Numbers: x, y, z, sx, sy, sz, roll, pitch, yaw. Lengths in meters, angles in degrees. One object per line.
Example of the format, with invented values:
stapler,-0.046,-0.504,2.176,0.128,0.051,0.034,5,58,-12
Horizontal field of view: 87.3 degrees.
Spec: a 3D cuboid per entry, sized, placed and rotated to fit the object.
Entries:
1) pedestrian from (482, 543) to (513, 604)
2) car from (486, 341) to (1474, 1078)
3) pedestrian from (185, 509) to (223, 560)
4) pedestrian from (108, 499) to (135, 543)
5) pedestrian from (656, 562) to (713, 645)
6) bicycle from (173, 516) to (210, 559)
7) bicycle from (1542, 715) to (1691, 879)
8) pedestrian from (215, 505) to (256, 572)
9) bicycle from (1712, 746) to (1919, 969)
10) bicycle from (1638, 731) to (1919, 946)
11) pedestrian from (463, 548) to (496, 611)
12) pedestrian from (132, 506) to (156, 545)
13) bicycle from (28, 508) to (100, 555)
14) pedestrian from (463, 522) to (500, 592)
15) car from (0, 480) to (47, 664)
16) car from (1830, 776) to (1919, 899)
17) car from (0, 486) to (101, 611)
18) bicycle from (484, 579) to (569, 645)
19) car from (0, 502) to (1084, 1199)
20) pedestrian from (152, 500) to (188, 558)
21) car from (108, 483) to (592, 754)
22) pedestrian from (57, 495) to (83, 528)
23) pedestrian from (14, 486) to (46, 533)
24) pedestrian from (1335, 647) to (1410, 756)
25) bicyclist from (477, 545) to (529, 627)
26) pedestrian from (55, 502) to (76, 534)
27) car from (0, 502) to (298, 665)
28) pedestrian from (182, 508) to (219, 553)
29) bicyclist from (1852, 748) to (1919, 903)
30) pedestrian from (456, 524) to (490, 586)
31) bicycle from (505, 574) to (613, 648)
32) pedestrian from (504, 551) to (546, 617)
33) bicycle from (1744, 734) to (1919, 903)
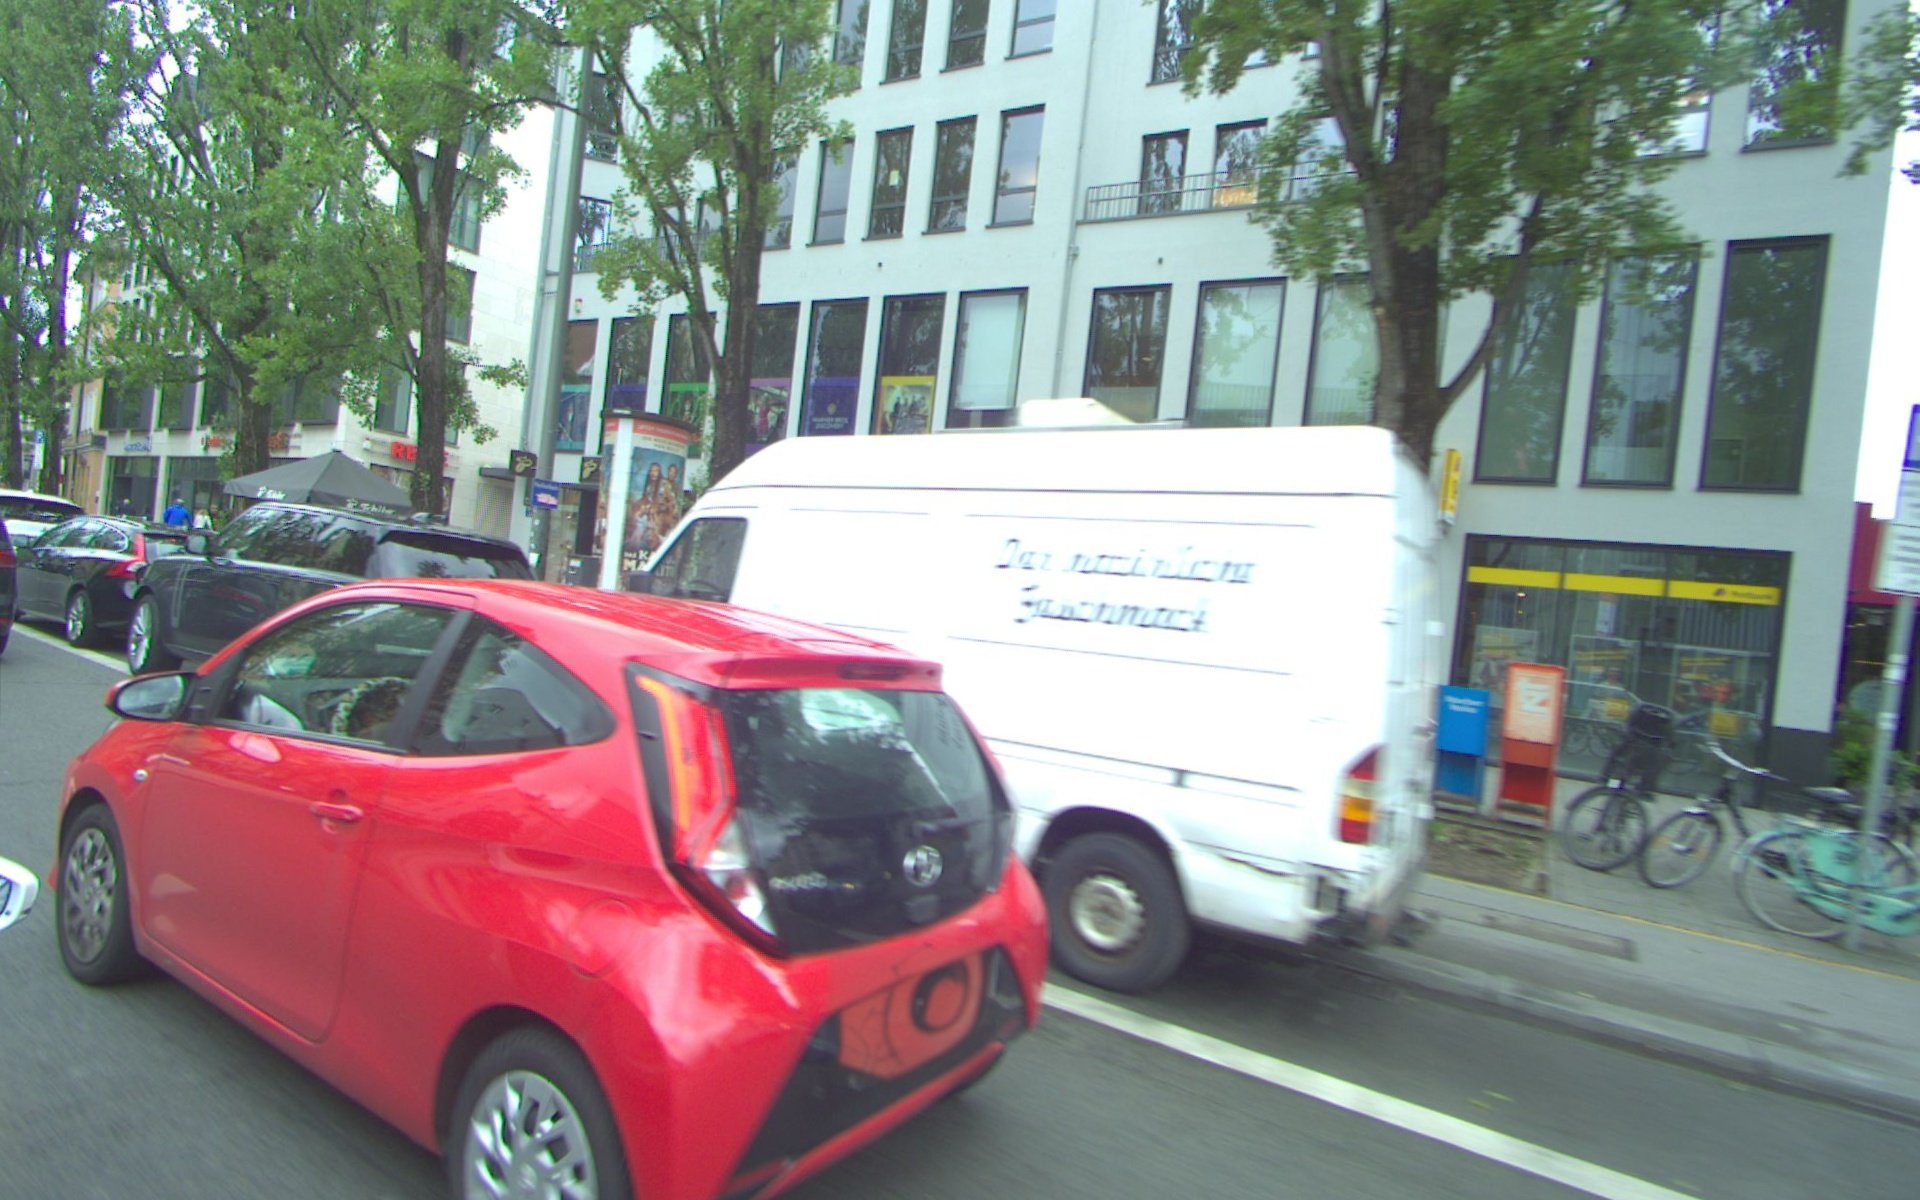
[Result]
pedestrian,-13.075,-0.738,28.466,0.499,1.643,0.548,7,-1,-10
car,-0.167,0.268,6.070,5.463,2.774,1.997,6,-1,32
pedestrian,-28.396,-2.456,37.775,0.669,1.794,0.796,6,1,19
pedestrian,-33.324,-3.128,39.979,0.544,1.658,0.555,6,1,-24
pedestrian,-5.617,0.075,20.527,0.738,1.578,0.682,7,2,32
bicycle,-23.310,-1.895,30.513,1.743,1.187,0.449,7,1,40
bicycle,5.673,1.638,8.653,0.695,1.174,1.625,7,0,43
pedestrian,-22.396,-1.895,31.112,0.911,1.949,0.646,7,2,35
bicycle,5.985,1.672,6.374,0.476,1.174,1.803,6,0,-43
bicycle,6.003,1.685,7.339,1.606,1.174,0.478,7,0,31
pedestrian,-13.225,-0.560,27.705,0.545,1.643,0.501,7,-1,-42
pedestrian,-32.852,-2.986,40.492,0.497,1.510,0.544,6,1,-22
bicycle,-26.960,-2.049,30.291,0.527,1.223,1.478,7,1,34
pedestrian,-11.871,-1.063,24.961,0.561,1.655,0.490,7,1,37
car,-10.616,-0.495,9.442,4.113,1.633,1.764,7,-1,30
car,8.444,2.101,8.545,1.471,0.916,0.367,7,1,31
car,-15.379,-0.953,15.753,4.338,1.706,1.729,6,-1,34
bicycle,-8.465,0.226,19.620,1.775,1.076,0.590,7,1,35
car,-1.604,0.603,3.431,3.536,1.463,1.668,6,-2,31
pedestrian,-23.626,-2.131,30.074,0.783,1.640,0.609,7,2,40
car,-5.748,0.066,9.259,4.704,1.826,1.931,6,-1,35
pedestrian,-44.838,-4.446,50.687,0.701,1.571,0.606,6,2,15
pedestrian,-40.079,-3.885,43.349,0.925,1.893,0.816,7,2,39
pedestrian,6.388,1.557,15.569,0.699,1.555,0.762,7,2,43
bicyclist,-8.616,-0.266,18.983,0.433,1.466,0.639,7,1,34
pedestrian,-49.203,-4.529,55.343,0.726,1.647,0.796,5,1,-37
car,-10.296,-0.260,12.430,4.497,1.450,1.774,7,-2,33
pedestrian,-29.500,-2.693,39.081,0.704,1.641,0.796,6,1,19
bicyclist,8.227,1.950,8.647,0.631,1.211,0.539,7,1,30
pedestrian,-13.804,-1.271,28.524,0.498,1.643,0.549,6,-1,5
bicycle,-7.178,0.207,18.017,1.503,1.154,0.883,6,1,-42
pedestrian,-11.049,-0.407,25.557,0.664,1.596,0.565,6,1,7
bicycle,8.030,1.924,8.744,1.743,1.210,0.527,7,1,30
